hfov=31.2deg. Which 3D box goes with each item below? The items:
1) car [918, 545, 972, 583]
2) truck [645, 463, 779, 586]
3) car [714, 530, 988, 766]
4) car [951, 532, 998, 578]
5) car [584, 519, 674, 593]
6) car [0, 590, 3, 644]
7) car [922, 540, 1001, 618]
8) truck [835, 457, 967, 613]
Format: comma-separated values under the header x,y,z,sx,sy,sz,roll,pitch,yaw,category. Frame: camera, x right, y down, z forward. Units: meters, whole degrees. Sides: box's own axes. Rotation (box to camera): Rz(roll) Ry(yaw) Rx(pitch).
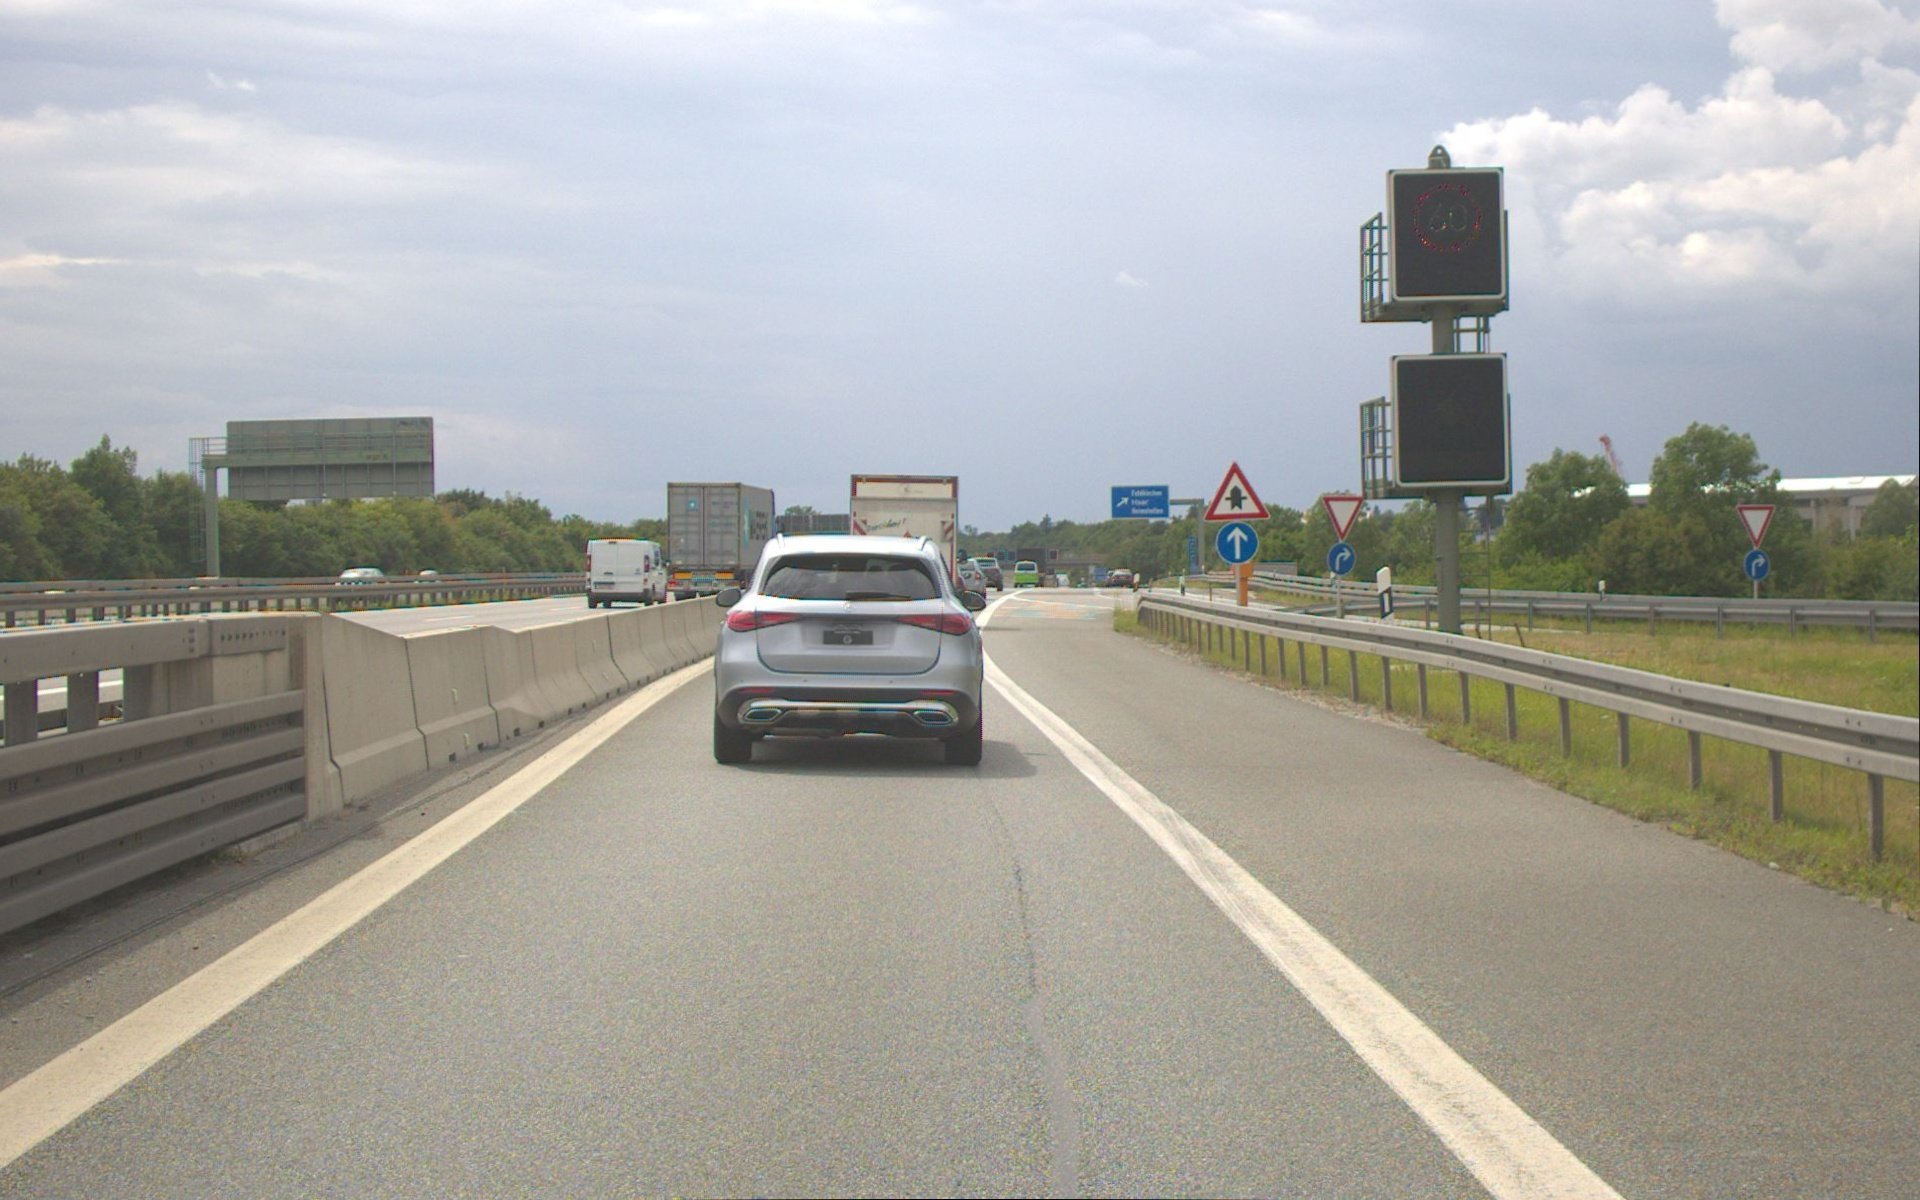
x,y,z,sx,sy,sz,roll,pitch,yaw,category
-0.510,-1.287,120.616,1.696,1.284,4.000,1,1,3,car
-8.614,-2.775,121.625,3.183,4.005,16.076,1,2,1,truck
-0.725,0.284,25.131,1.819,1.509,4.000,1,2,0,car
0.678,-2.084,158.969,1.994,2.006,4.374,1,2,2,car
-9.526,-1.302,99.261,1.994,2.006,4.374,1,2,2,car
-31.111,0.545,106.137,1.830,1.700,4.000,1,1,3,car
0.055,-0.597,94.313,1.994,2.006,4.000,1,2,2,car
-1.184,-1.359,73.921,2.569,3.115,8.634,1,1,0,truck
